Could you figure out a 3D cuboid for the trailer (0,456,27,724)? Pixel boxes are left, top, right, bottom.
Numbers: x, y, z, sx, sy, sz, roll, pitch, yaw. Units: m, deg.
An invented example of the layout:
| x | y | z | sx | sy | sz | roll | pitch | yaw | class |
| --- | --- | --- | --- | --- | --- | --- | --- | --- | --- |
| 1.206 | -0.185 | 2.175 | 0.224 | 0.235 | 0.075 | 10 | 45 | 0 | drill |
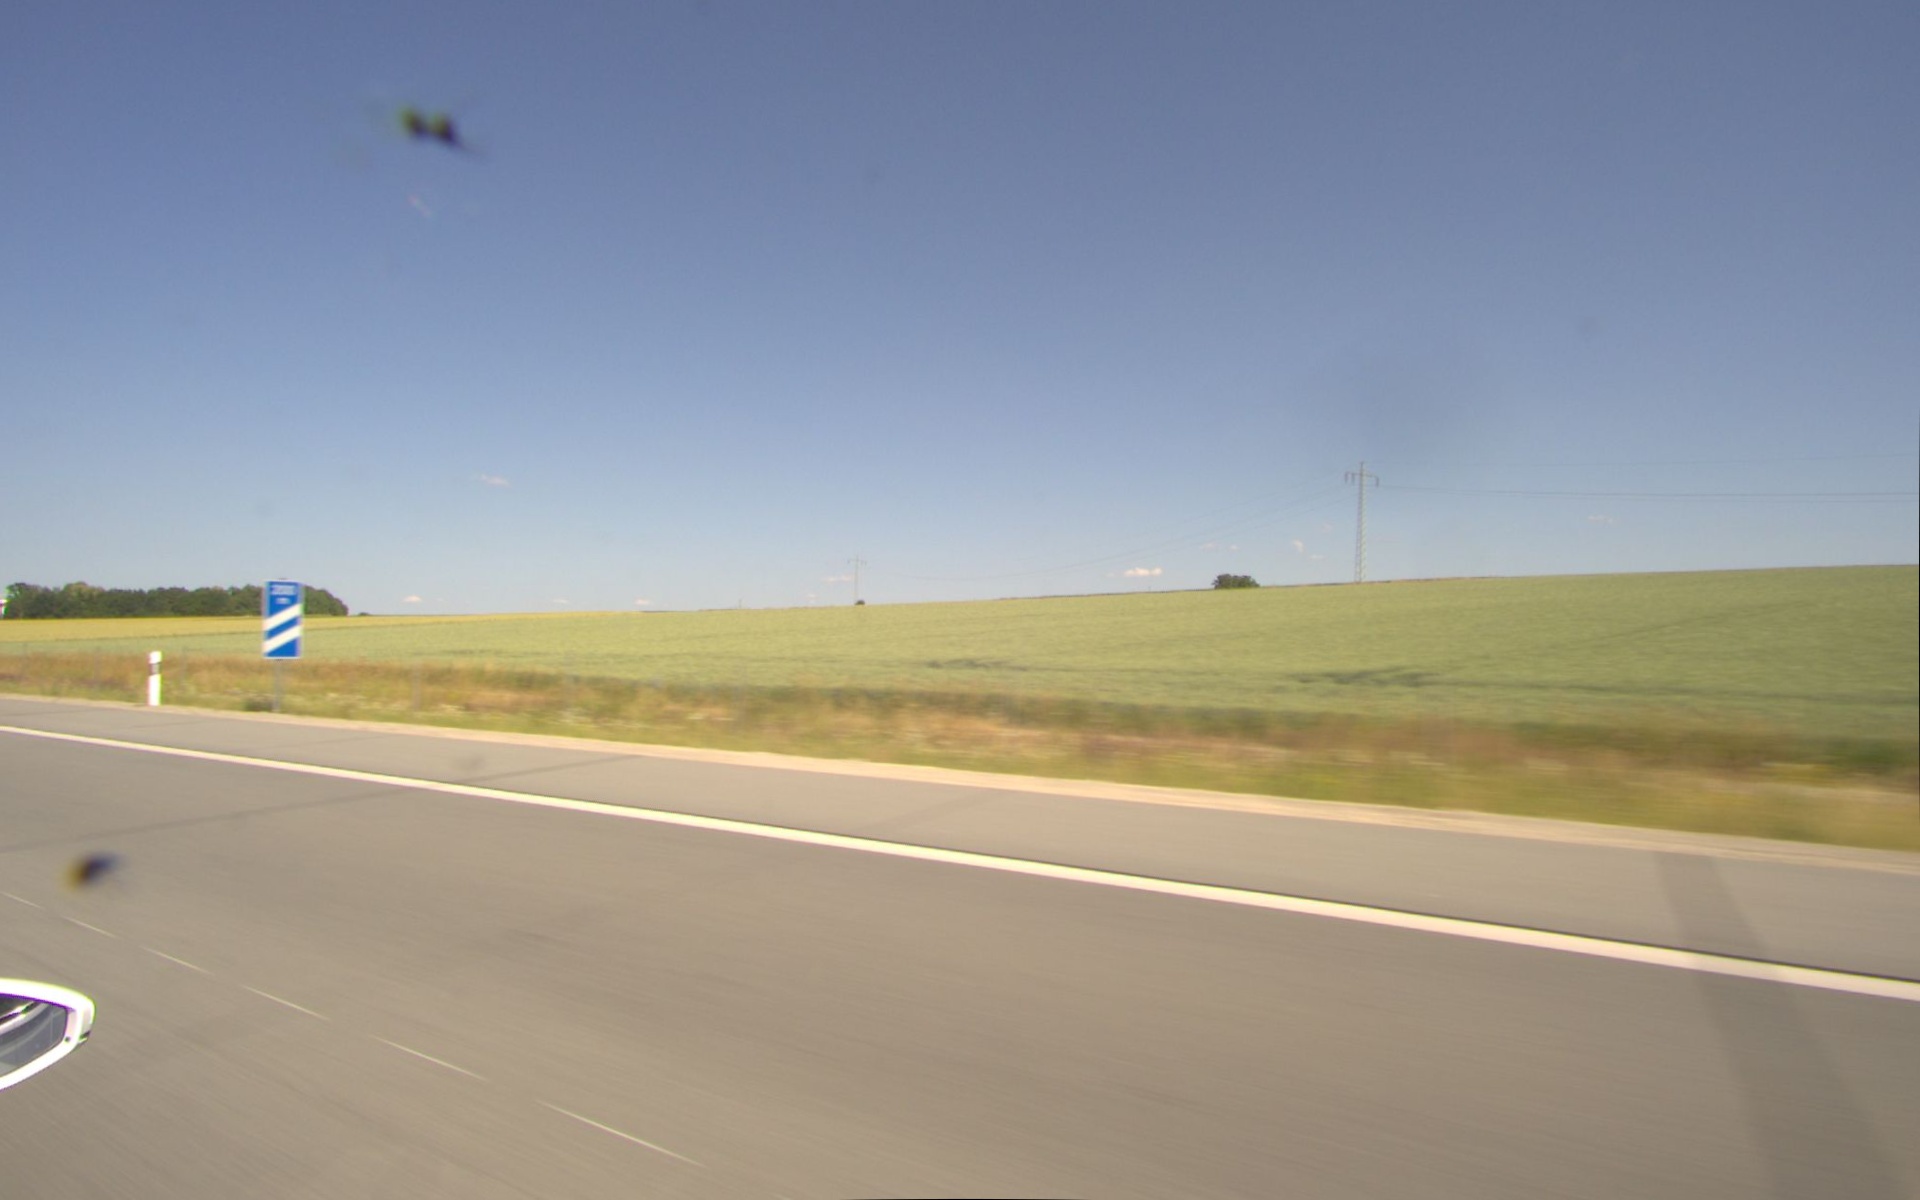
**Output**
| x | y | z | sx | sy | sz | roll | pitch | yaw | class |
| --- | --- | --- | --- | --- | --- | --- | --- | --- | --- |
| -22.745 | -0.086 | 19.126 | 15.232 | 4.350 | 3.171 | -1 | -1 | 31 | trailer |
